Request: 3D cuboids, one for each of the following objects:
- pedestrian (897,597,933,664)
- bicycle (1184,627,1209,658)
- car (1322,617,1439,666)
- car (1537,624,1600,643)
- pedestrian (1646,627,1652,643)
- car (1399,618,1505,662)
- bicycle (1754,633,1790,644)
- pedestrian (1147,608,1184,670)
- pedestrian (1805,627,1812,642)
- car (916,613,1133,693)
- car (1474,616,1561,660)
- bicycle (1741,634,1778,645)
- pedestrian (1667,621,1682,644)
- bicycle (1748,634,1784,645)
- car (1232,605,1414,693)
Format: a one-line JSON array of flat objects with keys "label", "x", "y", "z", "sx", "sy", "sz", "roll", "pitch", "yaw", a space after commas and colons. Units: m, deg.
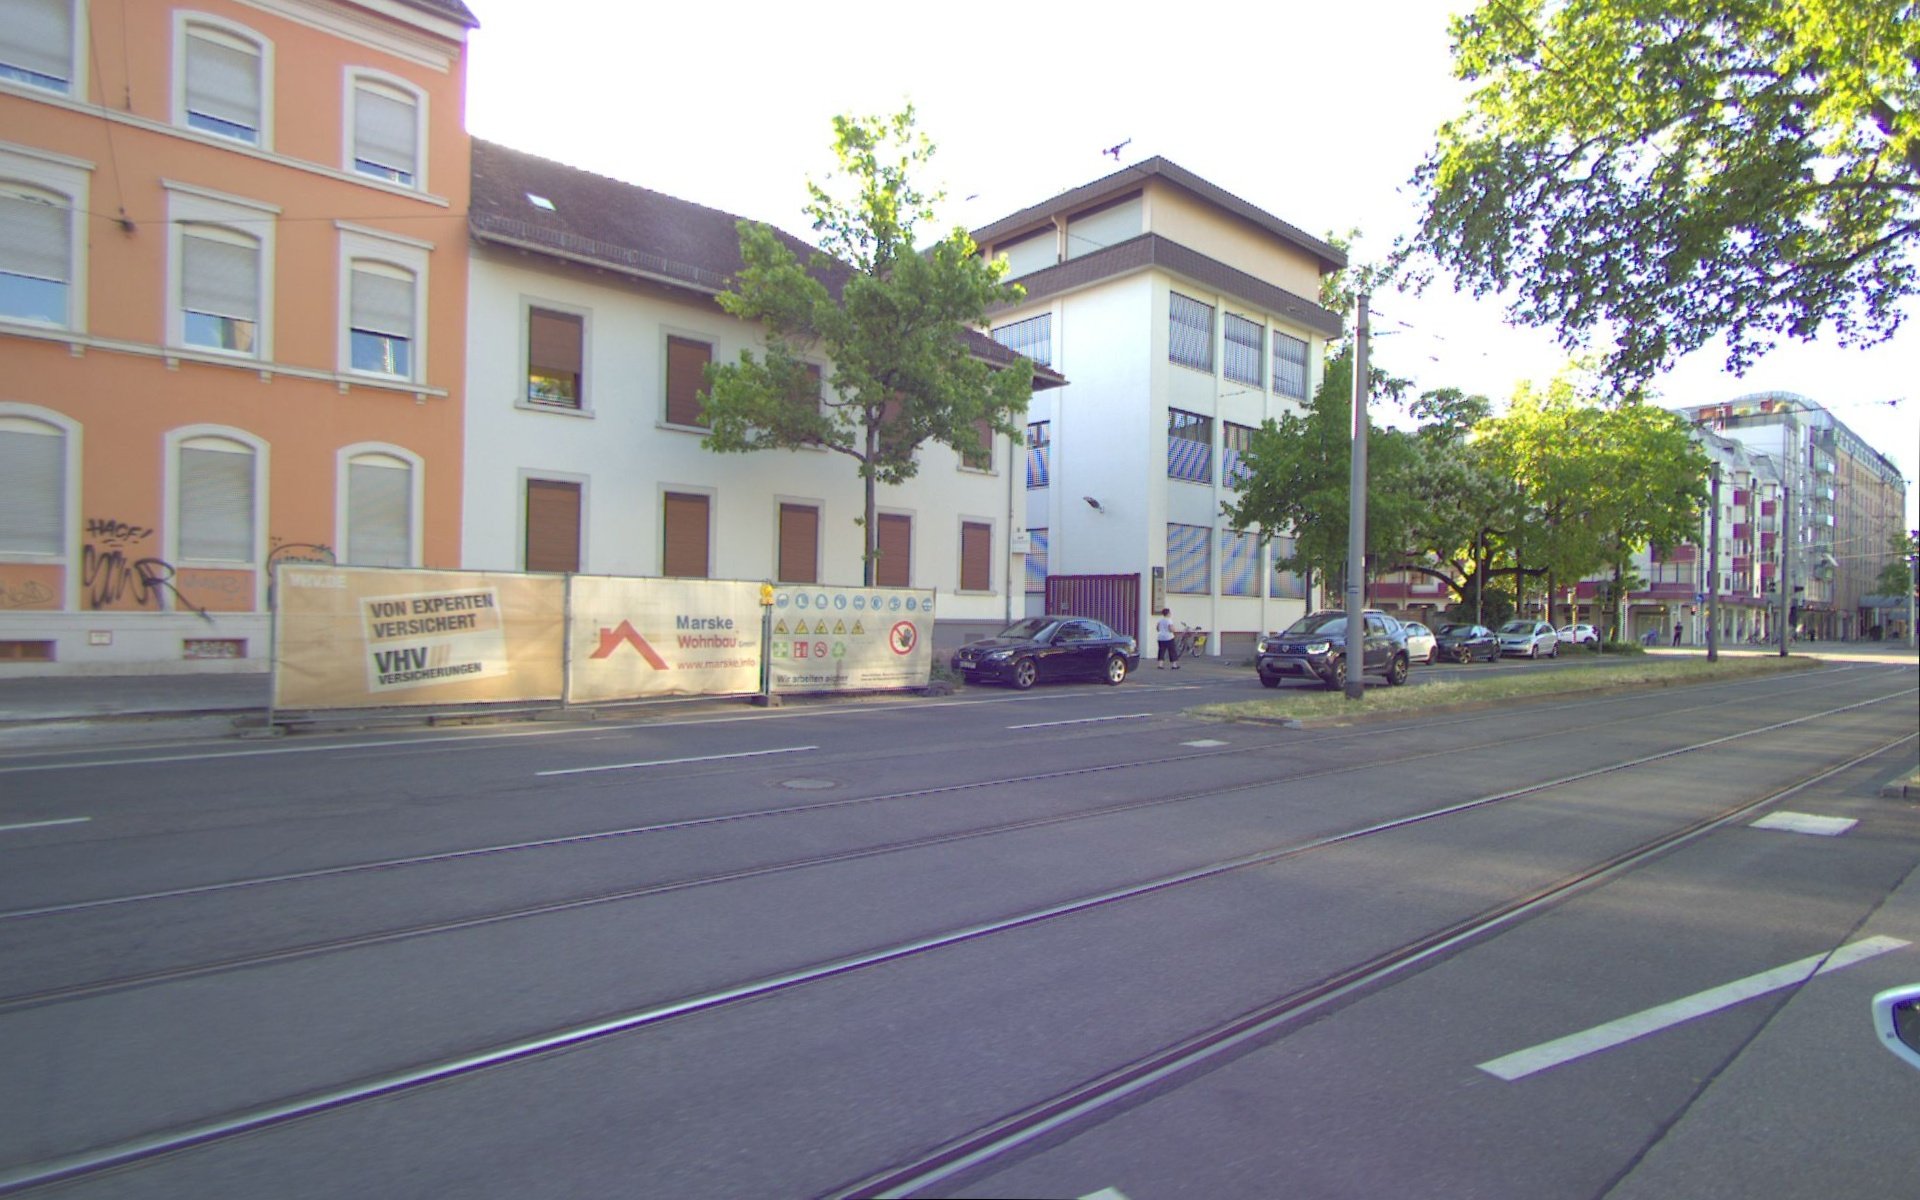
[{"label": "pedestrian", "x": -1.083, "y": 0.725, "z": 24.295, "sx": 0.635, "sy": 1.591, "sz": 0.588, "roll": 1, "pitch": -1, "yaw": -42}, {"label": "bicycle", "x": 7.864, "y": 1.397, "z": 33.437, "sx": 1.011, "sy": 1.016, "sz": 0.300, "roll": 1, "pitch": -1, "yaw": -43}, {"label": "car", "x": 14.001, "y": 1.340, "z": 33.324, "sx": 4.374, "sy": 1.490, "sz": 1.975, "roll": 1, "pitch": -1, "yaw": -43}, {"label": "car", "x": 47.044, "y": 2.569, "z": 77.667, "sx": 3.938, "sy": 1.483, "sz": 1.794, "roll": -1, "pitch": -2, "yaw": 39}, {"label": "pedestrian", "x": 51.472, "y": 2.619, "z": 75.075, "sx": 0.300, "sy": 1.230, "sz": 0.316, "roll": -1, "pitch": -1, "yaw": 45}, {"label": "car", "x": 18.161, "y": 1.428, "z": 36.995, "sx": 4.616, "sy": 1.495, "sz": 1.975, "roll": 1, "pitch": -1, "yaw": -43}, {"label": "bicycle", "x": 63.620, "y": 3.033, "z": 78.688, "sx": 0.524, "sy": 0.835, "sz": 2.149, "roll": 1, "pitch": -1, "yaw": -43}, {"label": "pedestrian", "x": 5.648, "y": 1.063, "z": 27.597, "sx": 0.725, "sy": 1.642, "sz": 0.630, "roll": 1, "pitch": 0, "yaw": -39}, {"label": "pedestrian", "x": 86.460, "y": 3.537, "z": 102.375, "sx": 0.524, "sy": 1.478, "sz": 0.505, "roll": 1, "pitch": -1, "yaw": -44}, {"label": "car", "x": 1.480, "y": 1.065, "z": 21.682, "sx": 4.689, "sy": 1.534, "sz": 1.976, "roll": 1, "pitch": -1, "yaw": -42}, {"label": "car", "x": 23.270, "y": 1.547, "z": 41.874, "sx": 4.148, "sy": 1.711, "sz": 1.975, "roll": 1, "pitch": -1, "yaw": -43}, {"label": "bicycle", "x": 61.783, "y": 3.011, "z": 77.615, "sx": 0.636, "sy": 0.797, "sz": 2.149, "roll": 1, "pitch": -1, "yaw": -43}, {"label": "pedestrian", "x": 51.639, "y": 2.335, "z": 72.589, "sx": 1.027, "sy": 1.684, "sz": 0.701, "roll": 1, "pitch": -2, "yaw": -45}, {"label": "bicycle", "x": 62.514, "y": 3.026, "z": 77.914, "sx": 0.488, "sy": 0.797, "sz": 2.149, "roll": 1, "pitch": -1, "yaw": -43}, {"label": "car", "x": 7.919, "y": 0.996, "z": 21.732, "sx": 4.279, "sy": 1.711, "sz": 1.975, "roll": 1, "pitch": -1, "yaw": -43}]
